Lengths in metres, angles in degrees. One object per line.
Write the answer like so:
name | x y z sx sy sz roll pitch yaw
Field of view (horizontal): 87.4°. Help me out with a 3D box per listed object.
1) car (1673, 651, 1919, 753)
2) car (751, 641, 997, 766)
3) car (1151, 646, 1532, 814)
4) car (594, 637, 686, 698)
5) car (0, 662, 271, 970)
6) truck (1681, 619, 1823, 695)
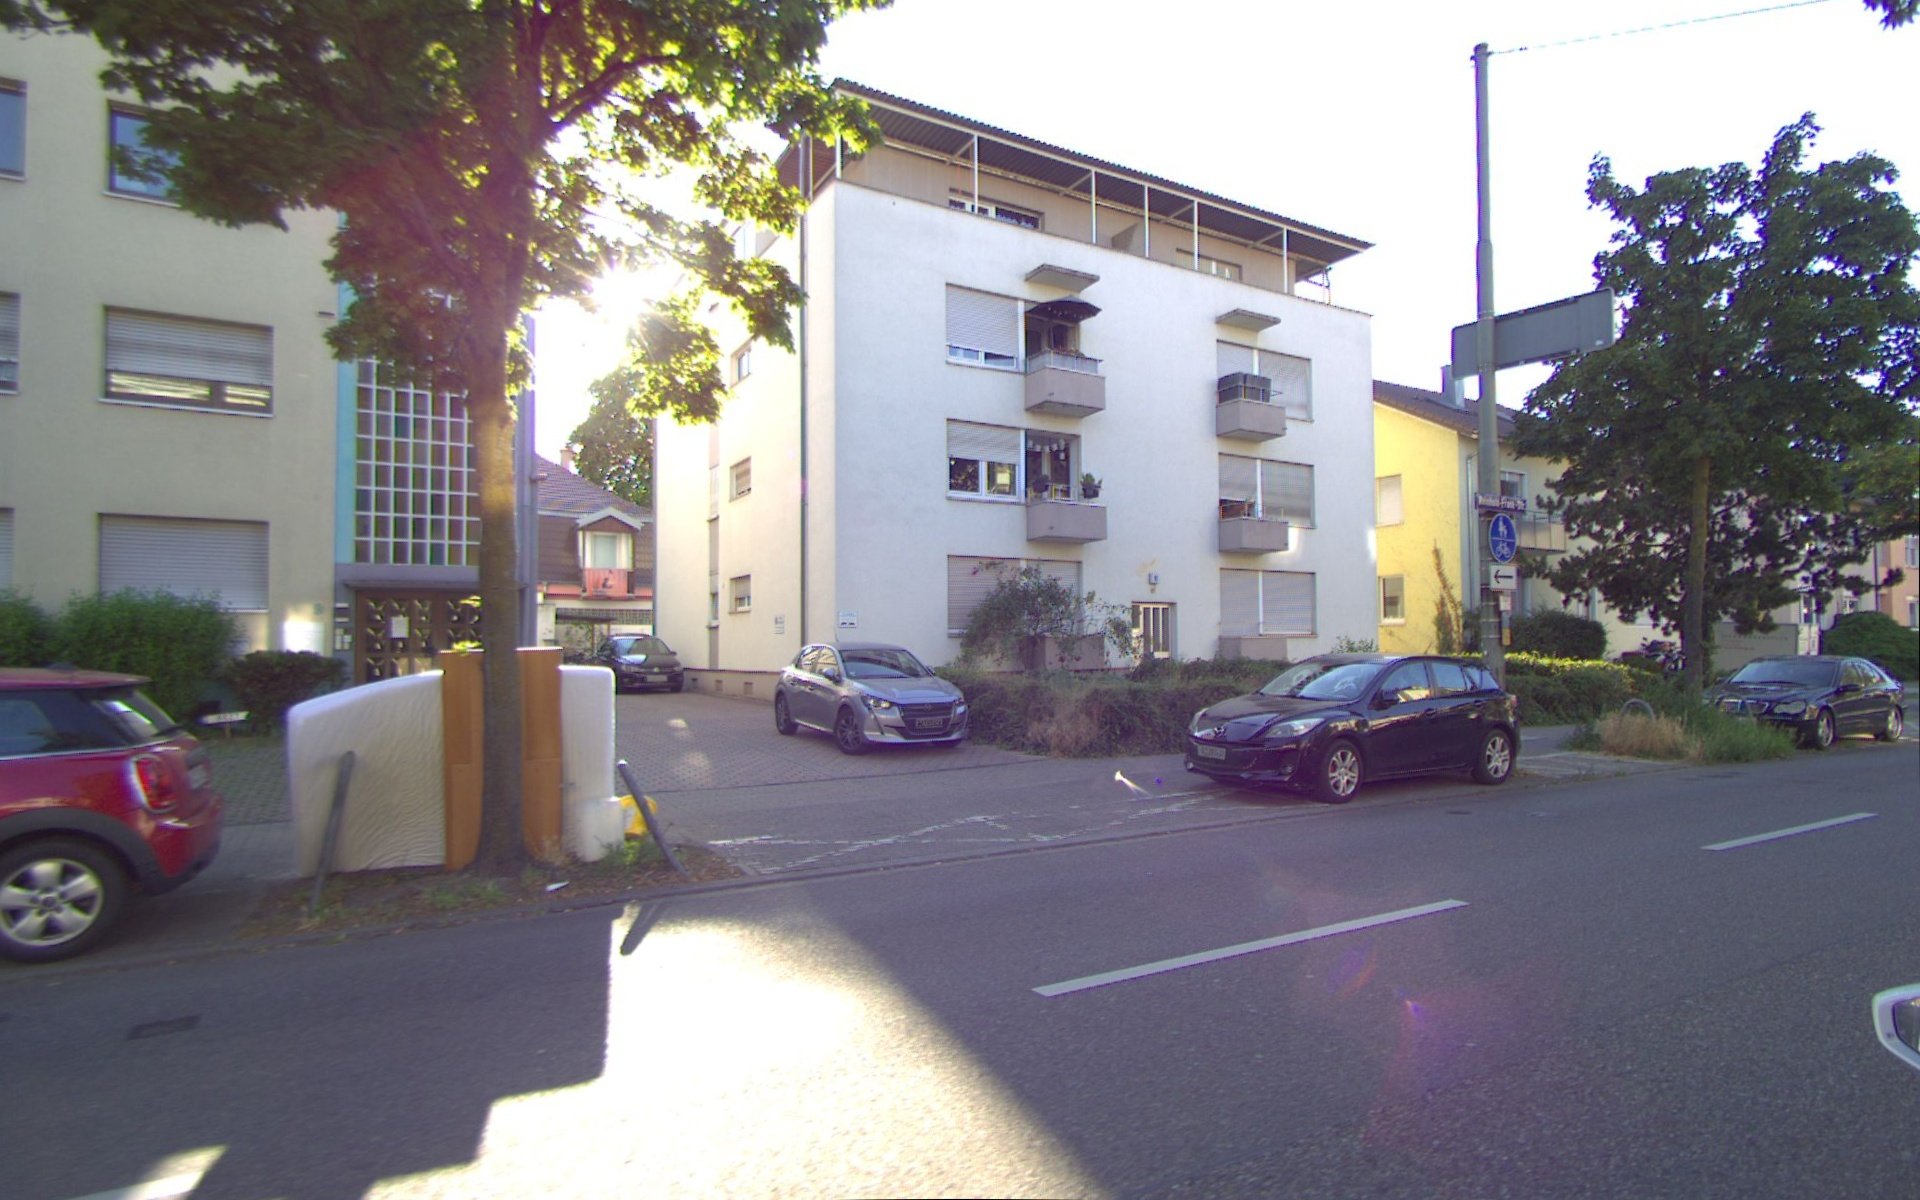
car | 13.929 1.595 16.665 4.373 1.438 1.746 1 -3 -30
car | -1.404 1.388 14.786 1.979 1.498 3.963 1 -2 -33
car | 4.302 1.296 11.171 4.198 1.517 1.709 1 -3 -31
car | -8.895 1.789 27.696 1.785 1.498 3.972 1 -2 -27
car | -5.860 1.079 5.104 3.742 1.439 1.709 1 -3 -31
truck | 23.254 1.650 29.559 1.528 2.121 2.900 1 -3 -30
